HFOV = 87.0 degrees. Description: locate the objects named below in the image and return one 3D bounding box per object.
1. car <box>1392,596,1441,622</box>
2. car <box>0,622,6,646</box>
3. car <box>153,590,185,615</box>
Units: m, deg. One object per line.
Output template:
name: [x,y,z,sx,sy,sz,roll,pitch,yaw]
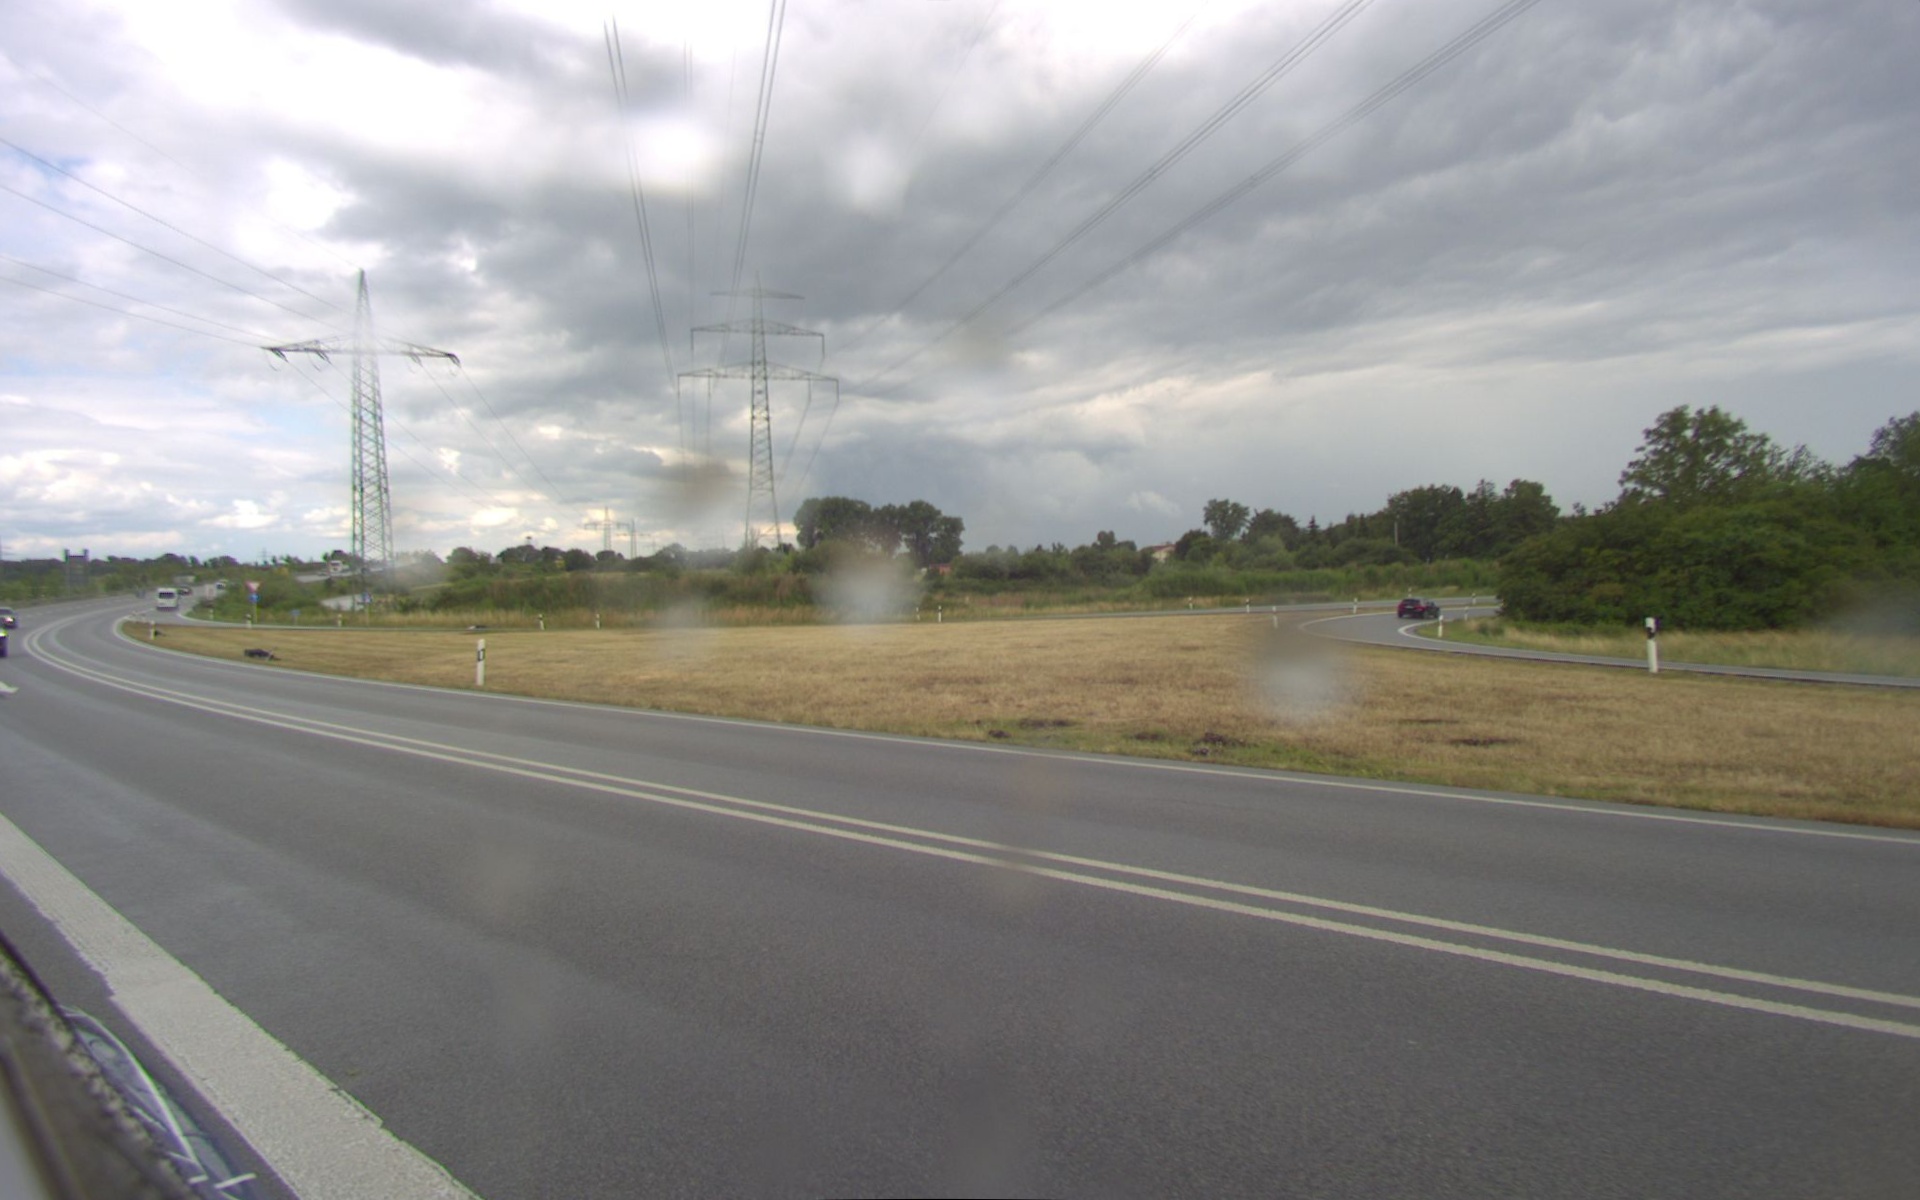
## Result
car: [31.414,0.591,69.598,1.988,1.615,3.861,2,3,42]
car: [-65.516,2.301,68.241,1.723,1.508,4.054,-1,1,-43]
car: [-93.740,0.303,119.968,2.177,2.770,6.040,-3,1,-31]
